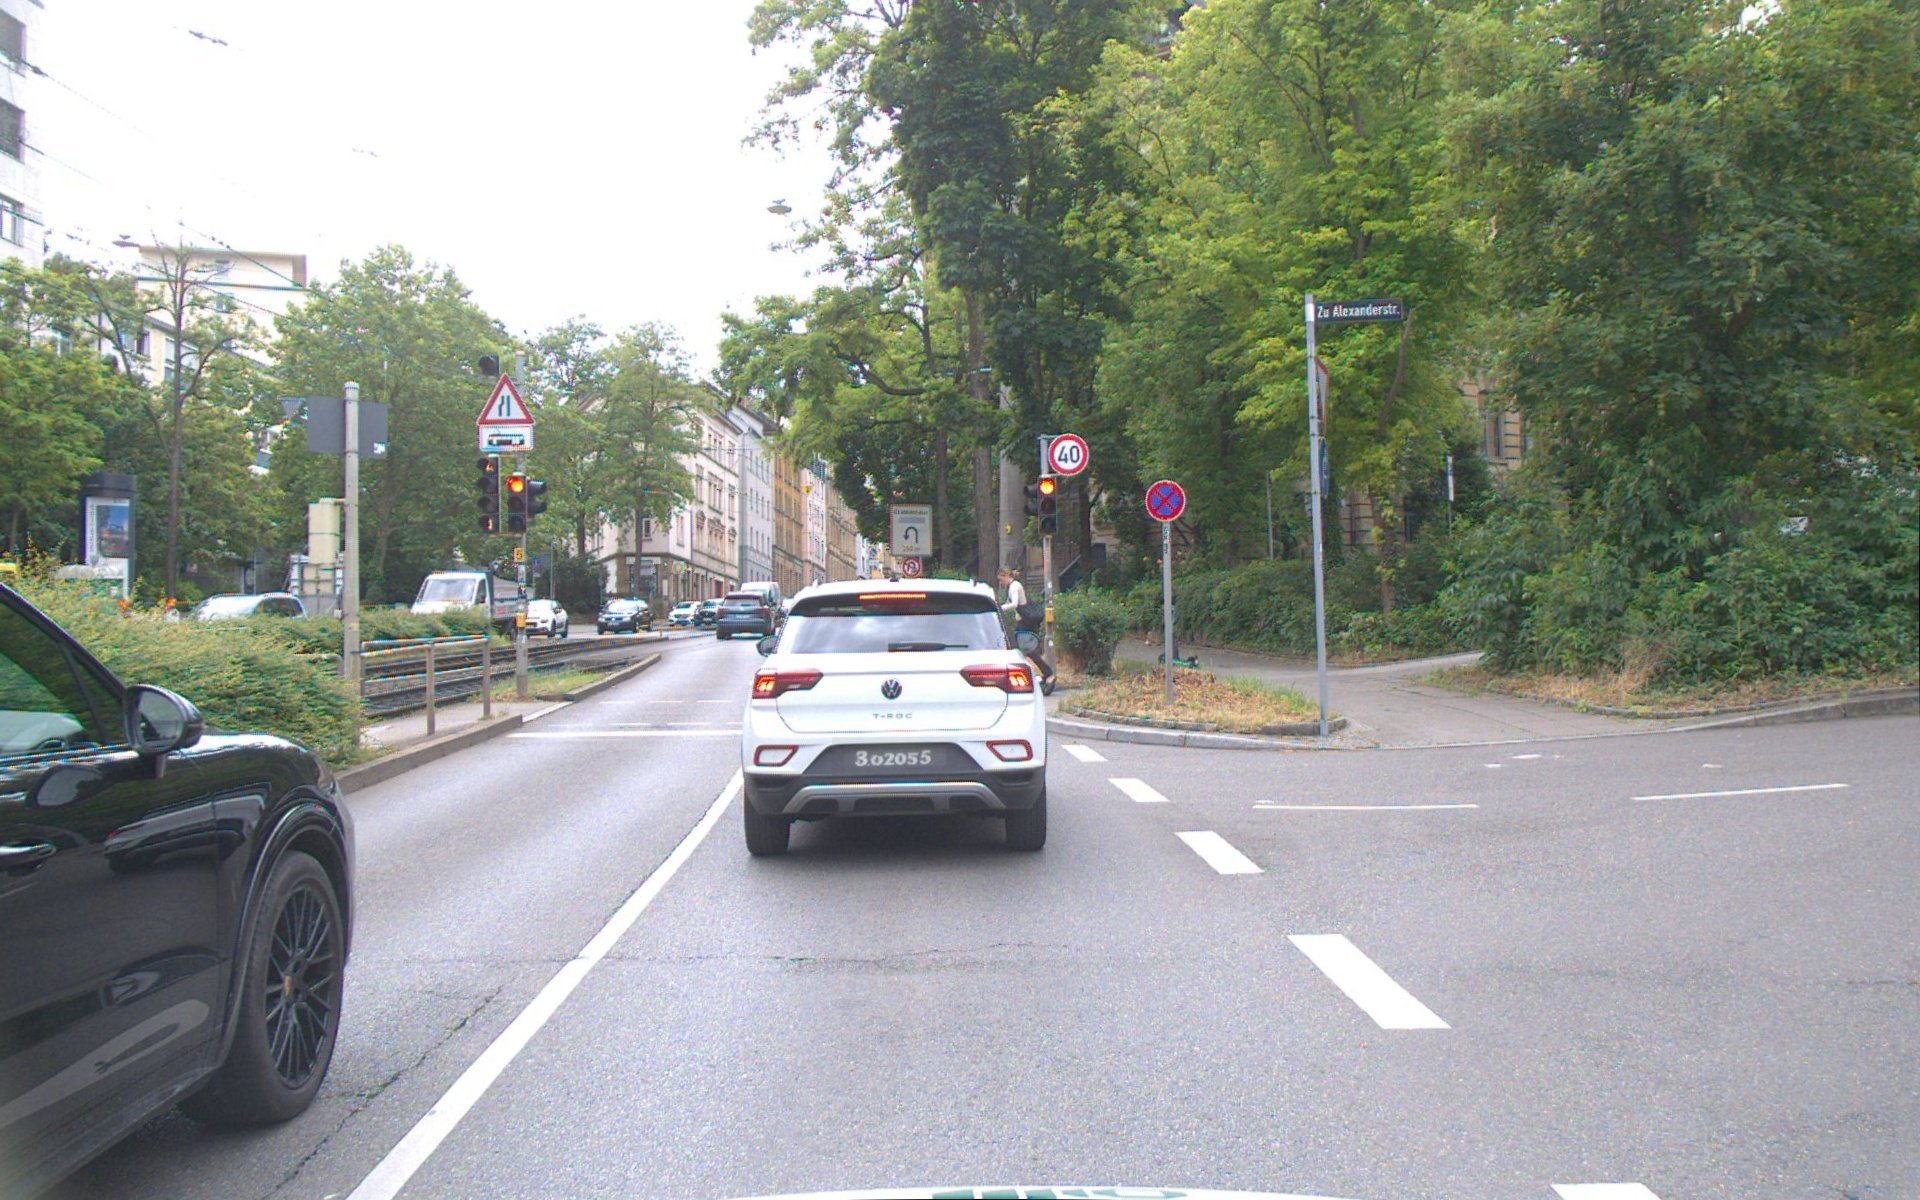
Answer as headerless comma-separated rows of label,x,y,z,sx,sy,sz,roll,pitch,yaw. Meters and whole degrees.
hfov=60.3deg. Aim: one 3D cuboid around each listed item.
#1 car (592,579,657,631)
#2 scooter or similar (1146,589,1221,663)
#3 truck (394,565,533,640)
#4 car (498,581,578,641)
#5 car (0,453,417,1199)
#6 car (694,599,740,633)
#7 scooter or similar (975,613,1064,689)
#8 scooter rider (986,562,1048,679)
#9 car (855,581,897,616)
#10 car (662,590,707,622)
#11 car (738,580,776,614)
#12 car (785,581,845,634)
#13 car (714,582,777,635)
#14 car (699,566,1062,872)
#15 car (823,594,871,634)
car,-14.389,0.252,71.130,1.953,2.049,3.998,2,-2,-1
scooter or similar,3.510,0.401,26.064,0.468,1.119,1.356,-2,0,-27
truck,-15.793,0.151,52.999,2.371,2.207,6.034,2,-1,2
car,-15.909,0.452,62.577,1.953,2.049,3.998,2,-2,-1
car,-2.721,0.602,3.081,1.987,1.714,4.779,0,-2,-2
car,-13.349,0.896,90.896,1.953,1.652,3.998,2,-2,-1
scooter or similar,0.831,0.711,23.060,1.162,1.011,0.532,-2,0,9
scooter rider,0.799,0.281,23.062,0.761,1.585,0.533,-2,0,8
car,-5.646,-0.133,111.740,2.372,2.207,6.034,-2,0,1
car,-15.859,0.358,95.310,1.953,1.652,3.998,2,-2,-1
car,-12.819,-0.161,104.715,1.953,2.049,3.999,-2,0,-1
car,-4.890,0.296,56.118,1.865,1.602,3.831,2,-2,-4
car,-7.724,0.299,59.854,1.802,1.770,3.999,-2,0,-1
car,-0.437,0.609,10.718,1.898,1.594,4.045,0,0,-1
car,-5.108,0.654,75.293,1.953,1.652,3.998,2,-2,-1
